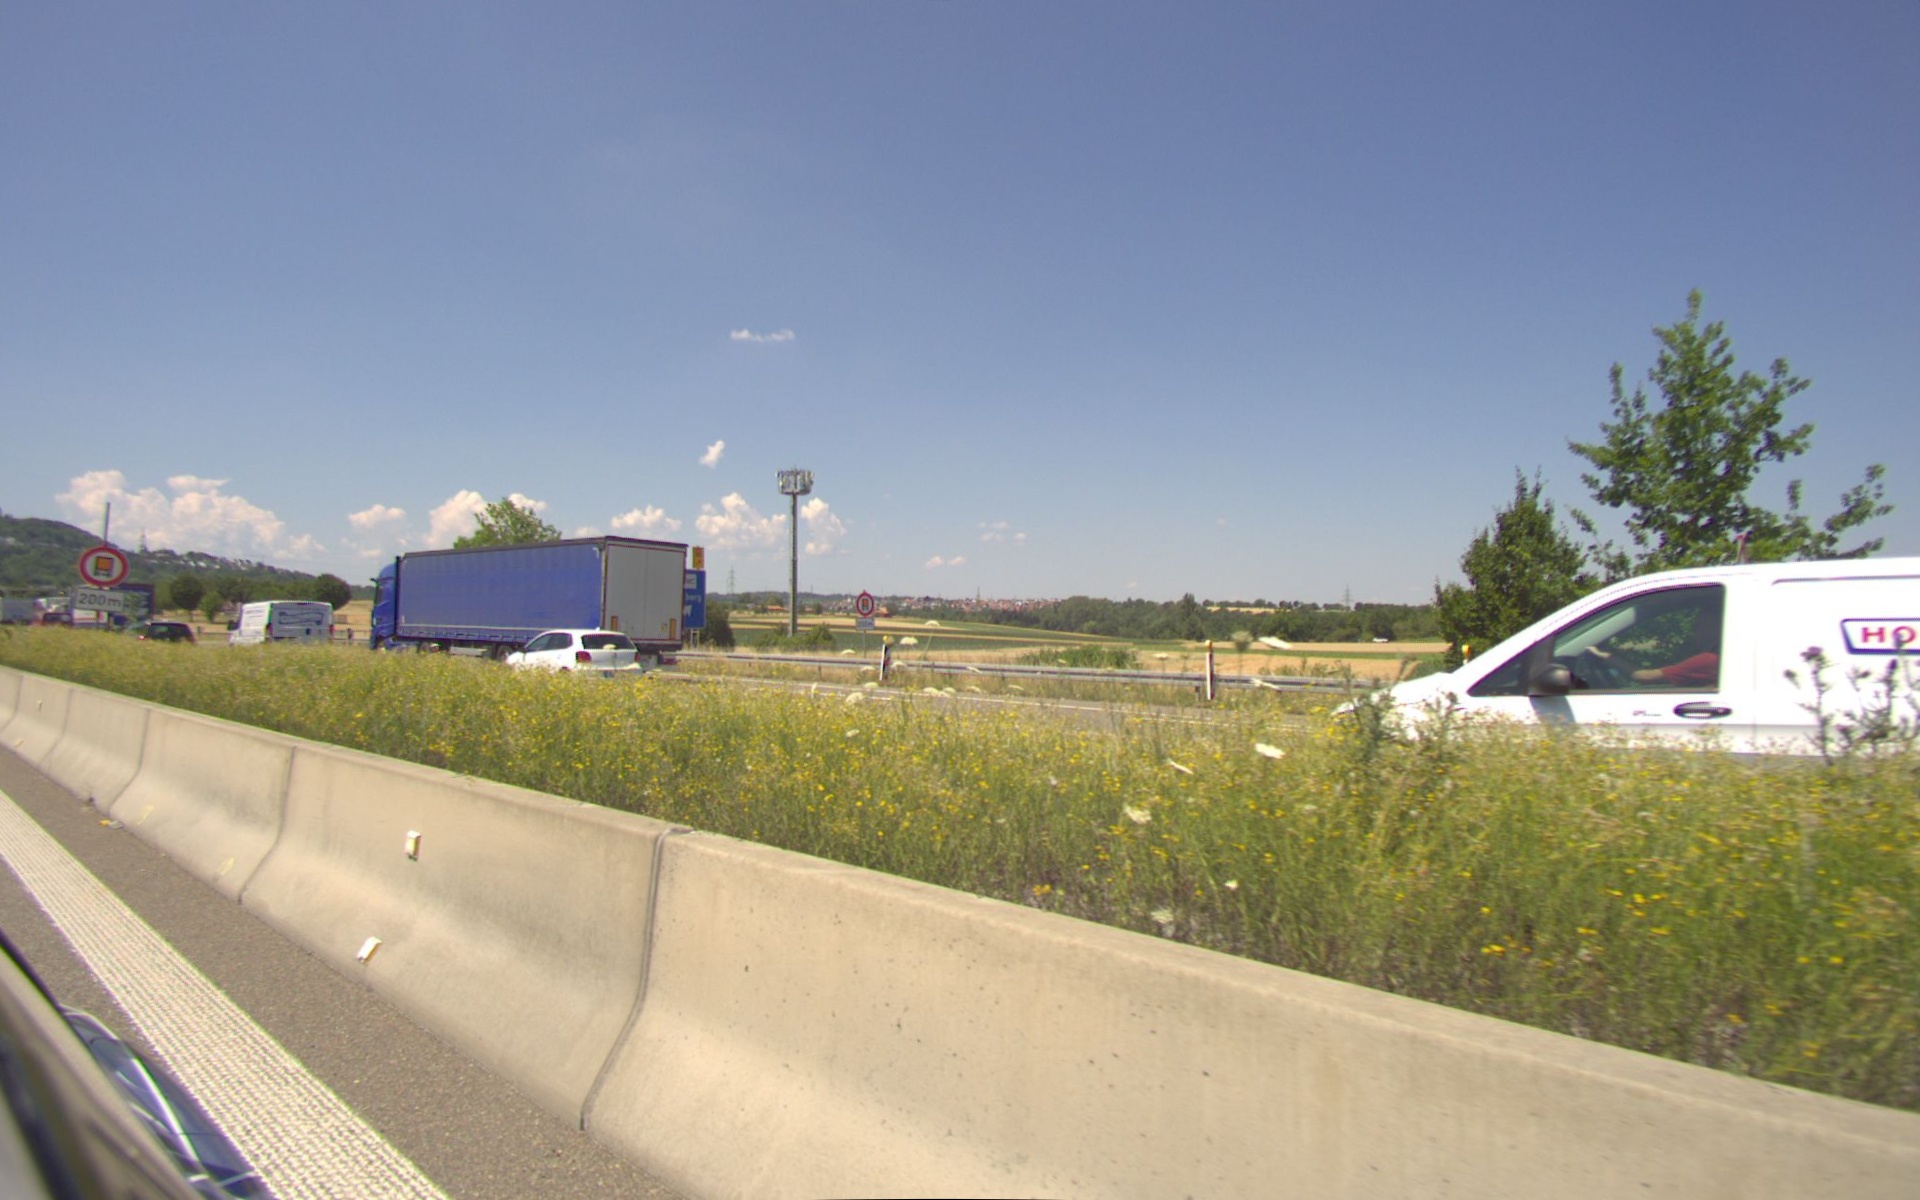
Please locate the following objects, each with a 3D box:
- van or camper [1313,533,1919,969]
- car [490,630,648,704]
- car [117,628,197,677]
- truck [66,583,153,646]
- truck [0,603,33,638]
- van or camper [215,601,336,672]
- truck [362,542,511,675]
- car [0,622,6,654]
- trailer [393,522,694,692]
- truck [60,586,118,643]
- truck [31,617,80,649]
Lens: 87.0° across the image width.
[{"bbox_3d":[4.817,0.696,5.391,5.198,1.948,1.973,-1,-2,40],"label":"van or camper"},{"bbox_3d":[-8.665,1.409,22.303,3.862,1.475,1.600,-1,-2,40],"label":"car"},{"bbox_3d":[-25.586,1.624,32.231,3.193,1.480,1.371,-1,-2,40],"label":"car"},{"bbox_3d":[-62.990,1.120,74.779,14.115,4.271,2.565,-1,-4,41],"label":"truck"},{"bbox_3d":[-104.339,2.299,111.227,8.785,3.648,2.670,-1,-3,42],"label":"truck"},{"bbox_3d":[-23.937,1.251,35.305,5.490,2.291,2.072,-1,-2,40],"label":"van or camper"},{"bbox_3d":[-18.816,0.368,36.265,5.583,4.383,2.835,-1,-2,41],"label":"truck"},{"bbox_3d":[-62.312,2.383,64.291,4.792,1.961,1.973,-1,-2,41],"label":"car"},{"bbox_3d":[-13.498,0.310,31.594,13.635,4.383,2.853,-1,-2,41],"label":"trailer"},{"bbox_3d":[-68.405,1.150,79.488,4.851,4.271,2.565,-1,-4,41],"label":"truck"},{"bbox_3d":[-59.321,2.158,66.335,4.455,2.029,1.971,-1,-2,43],"label":"truck"}]
